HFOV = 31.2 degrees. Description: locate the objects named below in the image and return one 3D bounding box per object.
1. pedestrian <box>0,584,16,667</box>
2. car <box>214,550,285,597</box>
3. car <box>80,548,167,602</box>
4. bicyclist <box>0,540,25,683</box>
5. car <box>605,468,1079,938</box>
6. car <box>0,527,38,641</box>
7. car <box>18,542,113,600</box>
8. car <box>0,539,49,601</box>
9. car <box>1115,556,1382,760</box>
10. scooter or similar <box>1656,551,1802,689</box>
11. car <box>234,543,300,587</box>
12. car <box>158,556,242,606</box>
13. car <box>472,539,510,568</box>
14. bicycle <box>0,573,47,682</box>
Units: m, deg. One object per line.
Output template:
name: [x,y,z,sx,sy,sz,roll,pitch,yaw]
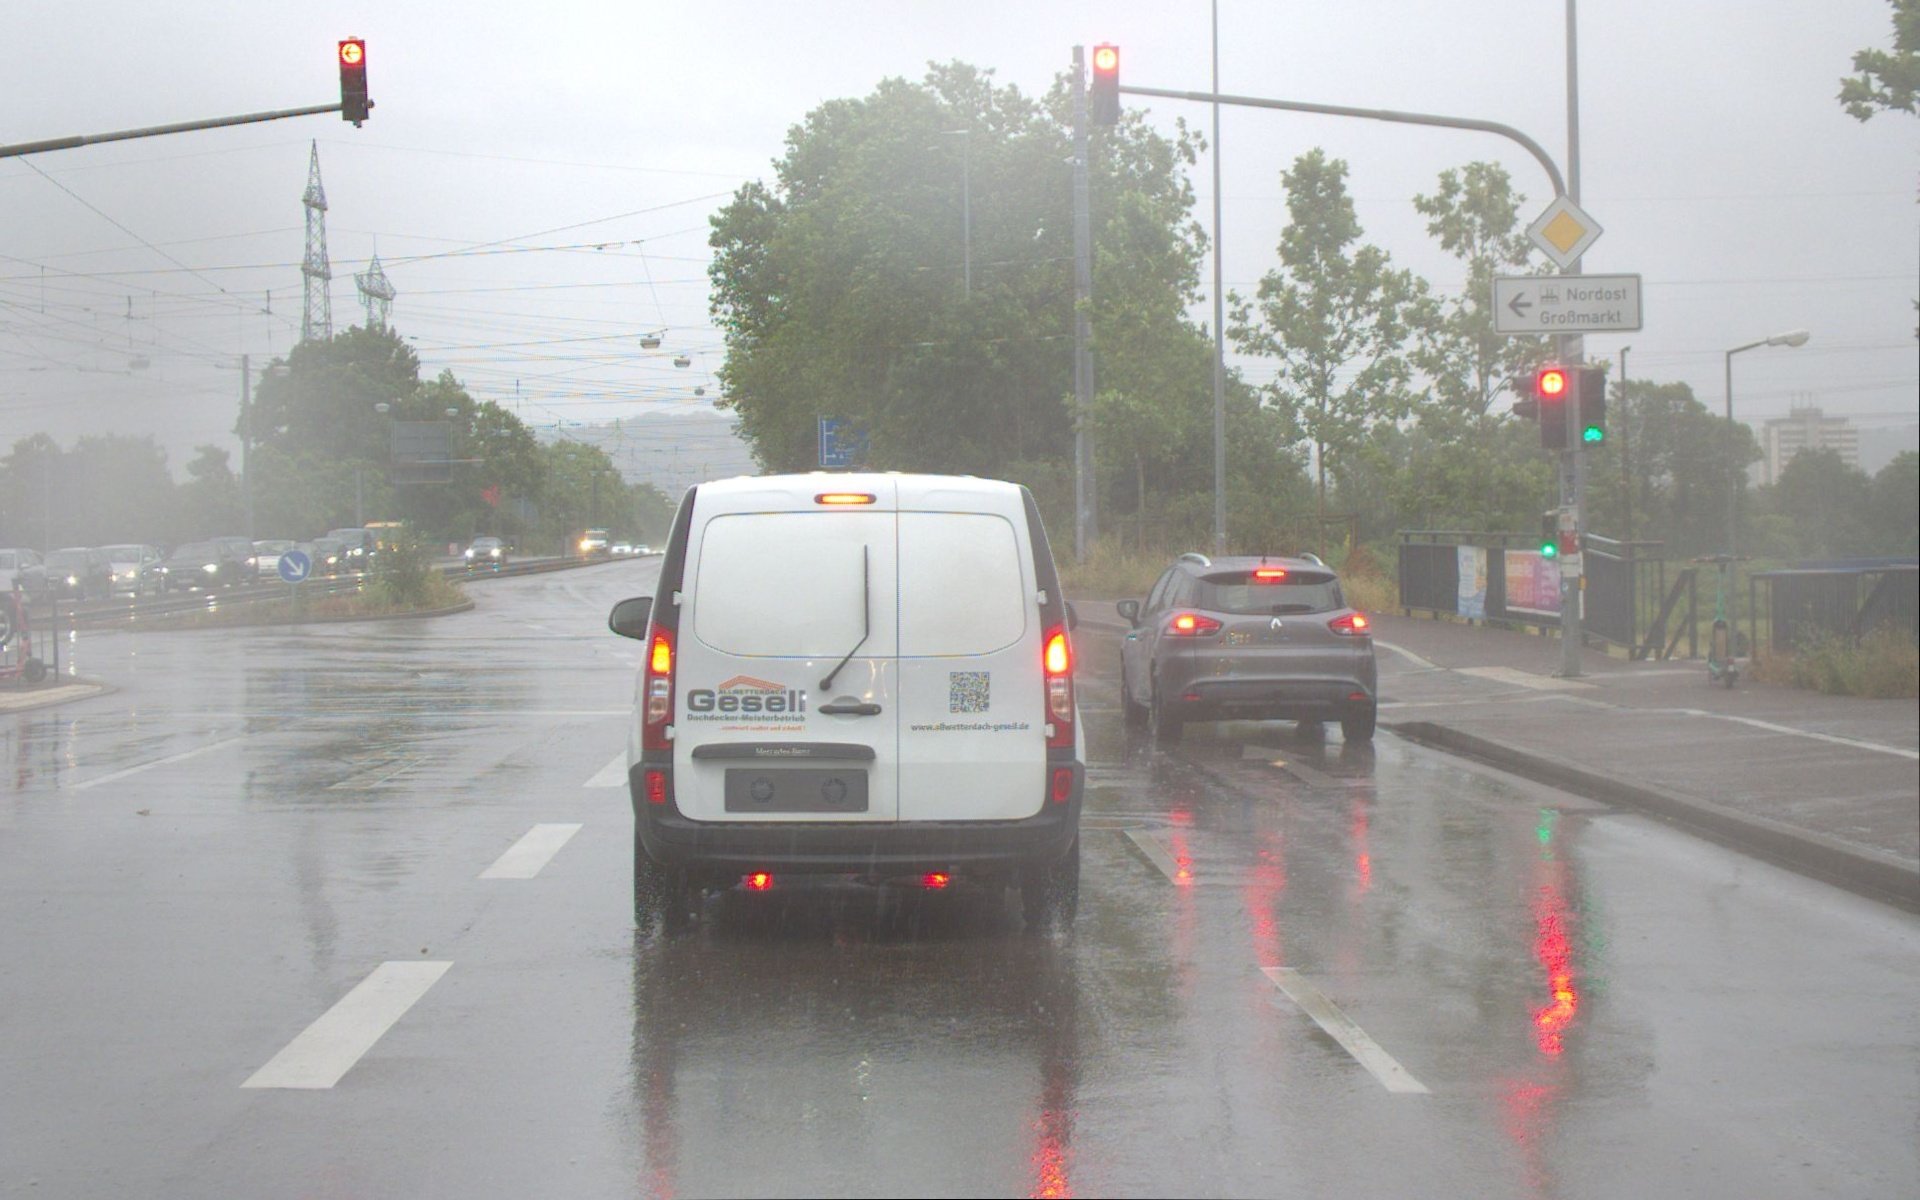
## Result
pedestrian: [-10.560,0.278,37.690,0.315,0.894,0.380,2,1,-3]
car: [-22.980,-0.840,111.270,1.559,1.421,3.569,2,0,-1]
car: [-23.325,-0.679,95.974,1.559,1.421,3.569,2,0,-1]
bicyclist: [-10.205,0.111,35.954,0.603,1.486,0.600,1,0,-41]
car: [-0.597,0.332,14.885,1.754,1.744,4.170,0,1,-4]
car: [-15.936,-0.283,49.950,4.450,1.656,1.953,2,-1,-36]
car: [-23.264,-0.731,89.485,1.559,1.421,3.569,2,0,-1]
car: [-23.079,-0.727,82.405,1.559,1.421,3.569,2,0,-1]
car: [2.254,0.417,27.767,1.684,1.503,3.921,1,1,-2]
scooter or similar: [7.152,0.156,32.113,0.690,1.207,3.020,-1,1,0]
car: [-23.968,-1.202,118.990,1.559,1.421,3.569,2,0,-1]
car: [-22.805,-0.557,103.292,1.710,1.421,3.809,2,0,-1]
car: [-24.995,-2.462,183.146,1.559,1.421,3.569,2,0,-1]
bicycle: [-10.408,0.279,35.676,1.754,1.134,0.520,0,1,-43]
